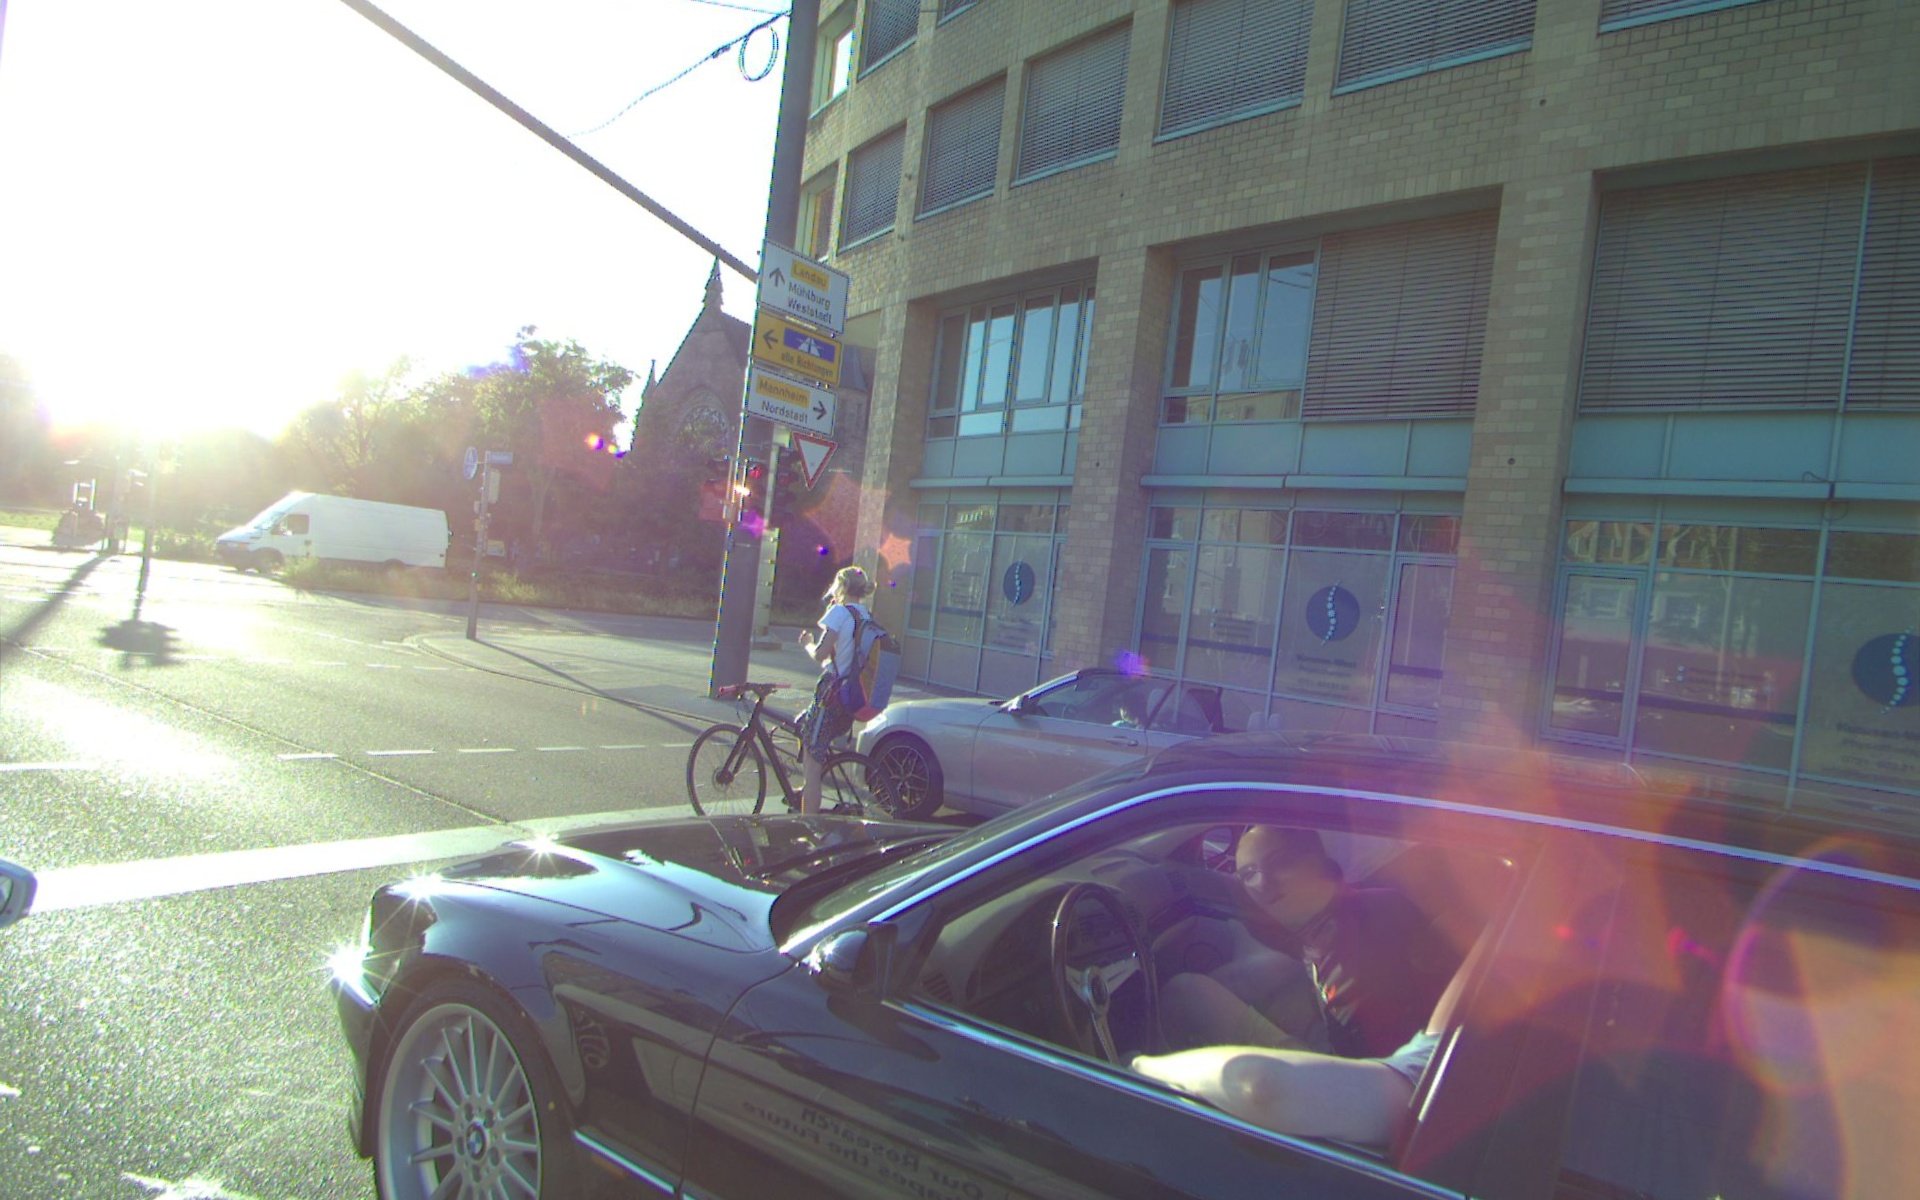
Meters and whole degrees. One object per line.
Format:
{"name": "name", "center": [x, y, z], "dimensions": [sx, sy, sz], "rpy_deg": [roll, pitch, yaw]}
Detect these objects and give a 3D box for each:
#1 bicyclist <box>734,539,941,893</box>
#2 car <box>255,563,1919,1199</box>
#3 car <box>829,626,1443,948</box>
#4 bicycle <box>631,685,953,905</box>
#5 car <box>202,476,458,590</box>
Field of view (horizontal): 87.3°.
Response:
{"name": "bicyclist", "center": [-0.703, 0.629, 5.821], "dimensions": [0.764, 1.843, 0.634], "rpy_deg": [7, 1, 30]}
{"name": "car", "center": [0.887, 0.935, 2.010], "dimensions": [4.661, 1.402, 1.997], "rpy_deg": [7, -1, 32]}
{"name": "car", "center": [1.243, 1.198, 7.686], "dimensions": [4.157, 1.401, 1.747], "rpy_deg": [7, -1, 31]}
{"name": "bicycle", "center": [-1.033, 1.081, 5.996], "dimensions": [1.838, 0.884, 0.634], "rpy_deg": [7, 0, 30]}
{"name": "car", "center": [-21.291, -2.152, 34.457], "dimensions": [2.059, 2.862, 7.017], "rpy_deg": [7, 0, 33]}
